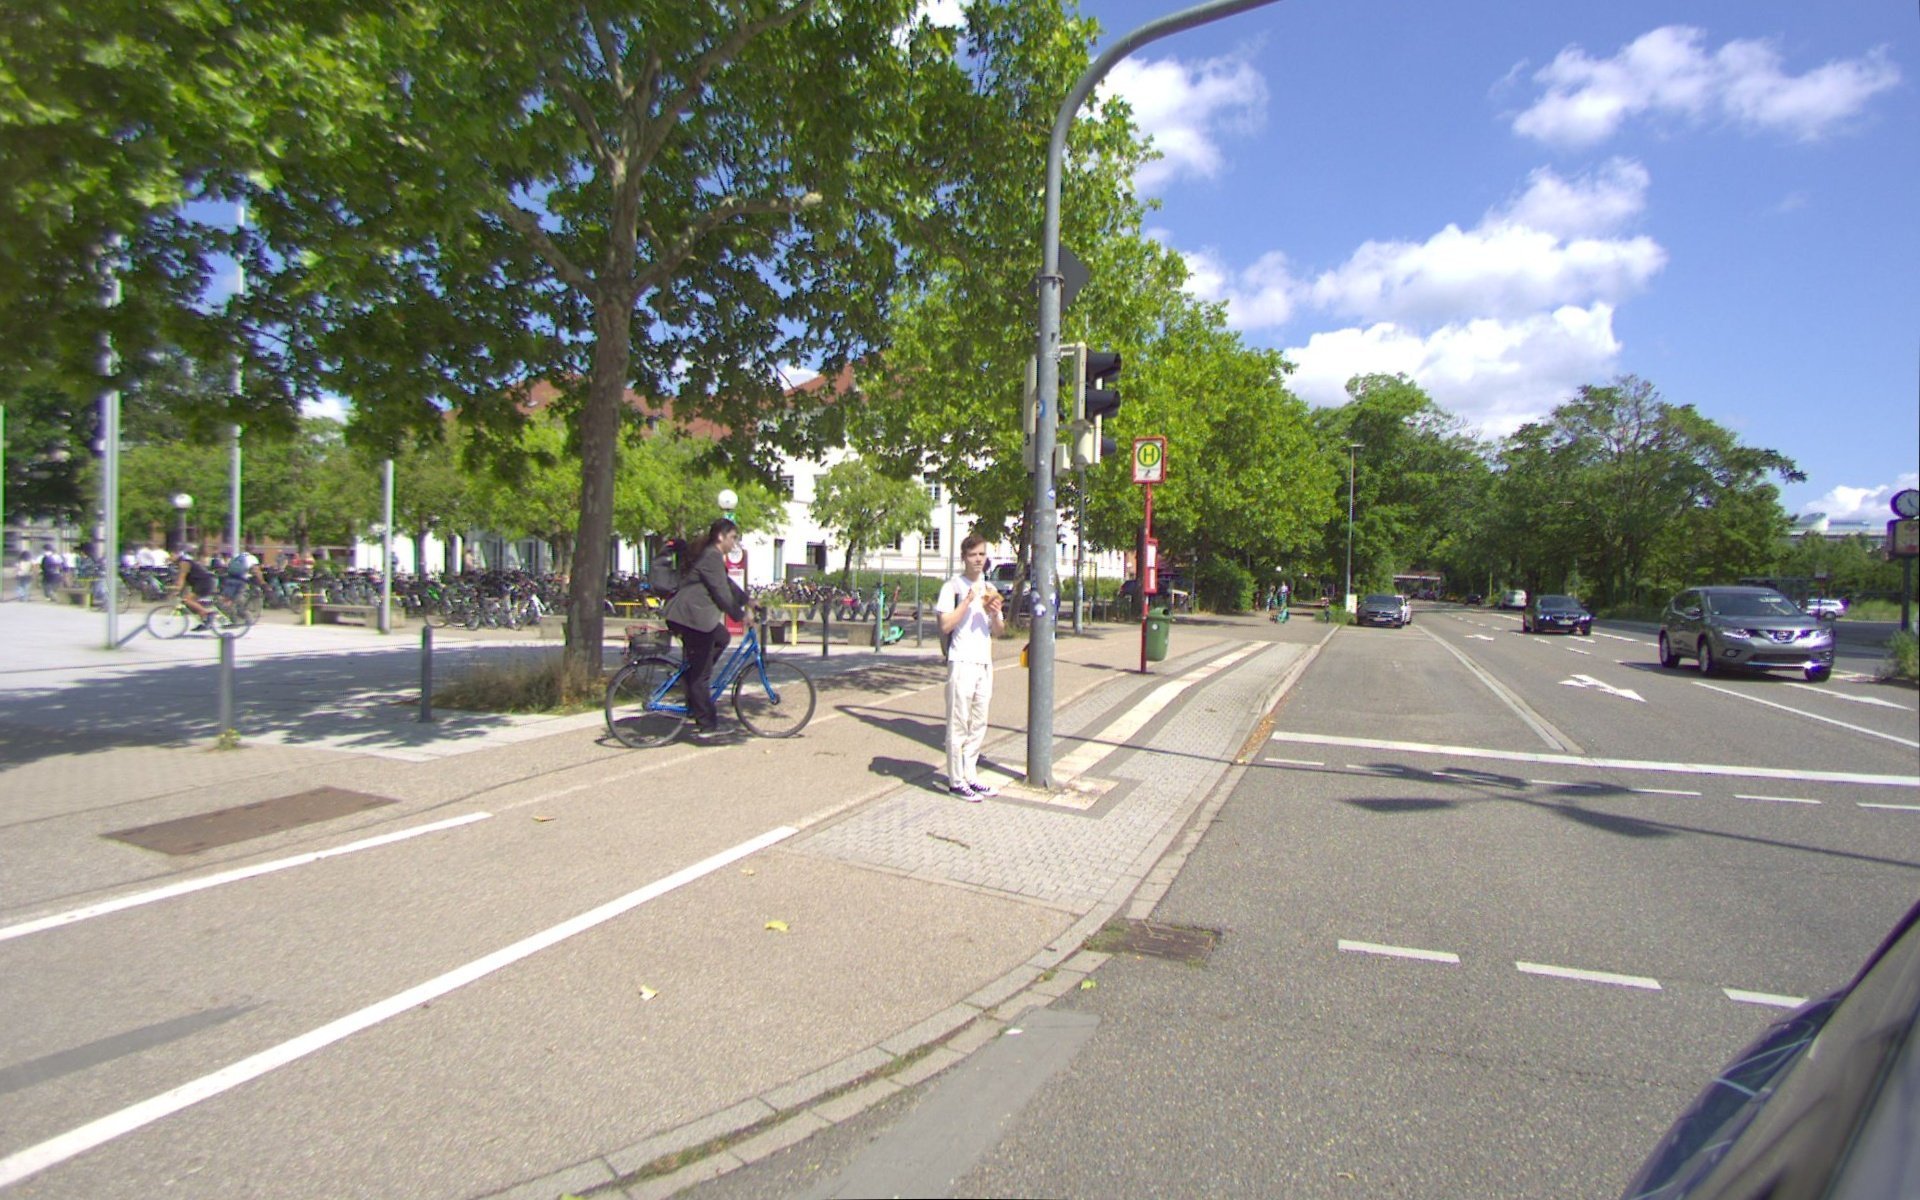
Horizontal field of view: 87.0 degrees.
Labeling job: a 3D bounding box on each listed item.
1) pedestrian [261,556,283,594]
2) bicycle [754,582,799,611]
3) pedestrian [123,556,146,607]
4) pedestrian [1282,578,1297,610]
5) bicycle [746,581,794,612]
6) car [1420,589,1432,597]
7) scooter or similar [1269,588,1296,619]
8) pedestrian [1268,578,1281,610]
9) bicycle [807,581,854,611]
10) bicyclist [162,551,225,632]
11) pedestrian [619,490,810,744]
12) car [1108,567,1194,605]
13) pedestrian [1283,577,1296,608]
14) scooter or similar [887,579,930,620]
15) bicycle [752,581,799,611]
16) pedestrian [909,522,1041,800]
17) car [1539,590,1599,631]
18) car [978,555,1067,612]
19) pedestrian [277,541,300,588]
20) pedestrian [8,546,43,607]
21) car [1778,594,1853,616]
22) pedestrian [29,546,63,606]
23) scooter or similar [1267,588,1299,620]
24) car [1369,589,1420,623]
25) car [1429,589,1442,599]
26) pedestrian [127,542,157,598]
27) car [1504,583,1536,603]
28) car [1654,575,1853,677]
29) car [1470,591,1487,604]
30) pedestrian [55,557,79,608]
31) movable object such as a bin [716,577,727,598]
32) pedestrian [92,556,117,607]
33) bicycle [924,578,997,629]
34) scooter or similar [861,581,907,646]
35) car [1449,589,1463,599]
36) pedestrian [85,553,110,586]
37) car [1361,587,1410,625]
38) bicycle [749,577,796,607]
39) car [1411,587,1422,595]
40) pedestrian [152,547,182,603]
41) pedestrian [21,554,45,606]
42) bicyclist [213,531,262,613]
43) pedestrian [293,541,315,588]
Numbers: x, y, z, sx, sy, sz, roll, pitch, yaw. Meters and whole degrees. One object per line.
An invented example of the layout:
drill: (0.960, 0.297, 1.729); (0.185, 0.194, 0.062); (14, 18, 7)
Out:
pedestrian: (-33.343, -1.211, 49.038); (0.621, 1.799, 0.717); (-1, 0, -8)
bicycle: (-7.228, -0.143, 39.898); (1.731, 1.113, 0.605); (-1, 0, -8)
pedestrian: (-37.446, -0.837, 45.903); (0.631, 2.257, 0.706); (-1, 0, 41)
pedestrian: (18.772, -0.358, 57.652); (0.674, 1.803, 0.788); (-1, 0, 13)
bicycle: (-7.044, -0.120, 37.615); (1.731, 1.113, 0.605); (-1, 0, -8)
car: (85.166, -1.287, 184.947); (1.882, 1.530, 3.791); (-1, 1, 28)
scooter or similar: (12.695, 0.136, 39.810); (0.527, 1.184, 1.554); (3, 1, 36)
pedestrian: (18.081, -0.365, 58.189); (0.674, 1.803, 0.787); (-1, 0, 16)
bicycle: (-4.937, -0.164, 38.524); (1.731, 1.113, 0.605); (-1, 0, -8)
bicyclist: (-15.275, -0.179, 20.194); (0.914, 1.583, 0.664); (0, 1, -30)
pedestrian: (-1.962, 0.095, 8.072); (1.154, 1.841, 0.857); (0, 5, -39)
car: (9.600, -0.690, 50.759); (3.950, 1.805, 1.987); (-1, 0, 20)
pedestrian: (19.579, -0.456, 60.074); (0.674, 1.803, 0.787); (-1, 0, 16)
scooter or similar: (-1.580, -0.014, 30.958); (1.277, 1.248, 0.280); (0, 2, 9)
bicycle: (-7.129, -0.151, 39.197); (1.731, 1.113, 0.605); (-1, 0, -8)
pedestrian: (0.103, 0.392, 7.047); (0.600, 1.823, 0.595); (2, 2, -42)
car: (22.726, 0.366, 37.825); (1.816, 1.434, 4.145); (0, 0, 31)
car: (2.287, -0.579, 35.827); (1.880, 1.888, 4.910); (0, 1, 19)
pedestrian: (-32.591, -1.714, 49.125); (0.621, 2.257, 0.717); (-1, 0, -8)
pedestrian: (-27.532, -0.699, 29.817); (0.712, 1.768, 0.626); (-1, 0, 36)
car: (62.265, 0.336, 73.704); (3.793, 1.530, 1.881); (-1, 0, 29)
pedestrian: (-27.444, -0.707, 30.395); (0.712, 1.768, 0.626); (-1, 0, 36)
scooter or similar: (13.423, 0.178, 42.008); (1.264, 1.262, 0.530); (2, 1, -33)
car: (21.096, 0.282, 49.051); (1.729, 1.468, 4.890); (3, 1, 29)
car: (77.667, -0.945, 165.288); (1.882, 1.530, 3.791); (-1, 1, 28)
pedestrian: (-33.277, -1.203, 41.153); (0.702, 2.257, 0.635); (-1, 0, -8)
car: (51.852, -0.687, 93.810); (1.880, 1.834, 4.700); (0, 1, 20)
car: (14.883, 0.438, 19.275); (1.804, 1.700, 4.444); (0, 0, 22)
car: (65.075, -0.310, 126.909); (1.882, 1.530, 3.791); (-1, 1, 28)
pedestrian: (-40.158, -0.790, 45.526); (0.631, 2.257, 0.706); (-1, 0, 41)
movable object such as a bin: (-11.961, -0.622, 50.680); (0.384, 1.068, 0.366); (2, 1, 18)
pedestrian: (-38.025, -0.818, 44.985); (0.630, 2.257, 0.708); (-1, 0, 34)
bicycle: (0.038, 0.061, 24.531); (0.794, 1.198, 2.007); (0, 1, 33)
scooter or similar: (-1.418, 0.236, 18.984); (0.349, 1.180, 1.183); (-1, 0, 23)
car: (79.381, -0.936, 162.036); (1.882, 1.530, 3.791); (-1, 1, 28)
pedestrian: (-38.657, -1.361, 45.377); (0.630, 1.455, 0.708); (-1, 0, 34)
car: (18.644, 0.245, 44.421); (1.842, 1.497, 4.903); (3, 1, 22)
bicycle: (-7.110, -0.299, 38.470); (1.731, 1.113, 0.605); (-1, 0, -8)
car: (101.215, -1.989, 224.325); (1.882, 1.530, 3.791); (-1, 1, 28)
pedestrian: (-32.449, -1.032, 41.407); (0.631, 2.257, 0.842); (-1, 0, 41)
pedestrian: (-40.822, -0.874, 44.568); (0.631, 2.257, 0.706); (-1, 0, 41)
bicyclist: (-16.758, -0.652, 23.499); (0.649, 1.868, 0.763); (-1, 0, -11)
pedestrian: (-31.807, -1.729, 49.099); (0.621, 2.257, 0.717); (-1, 0, -8)
